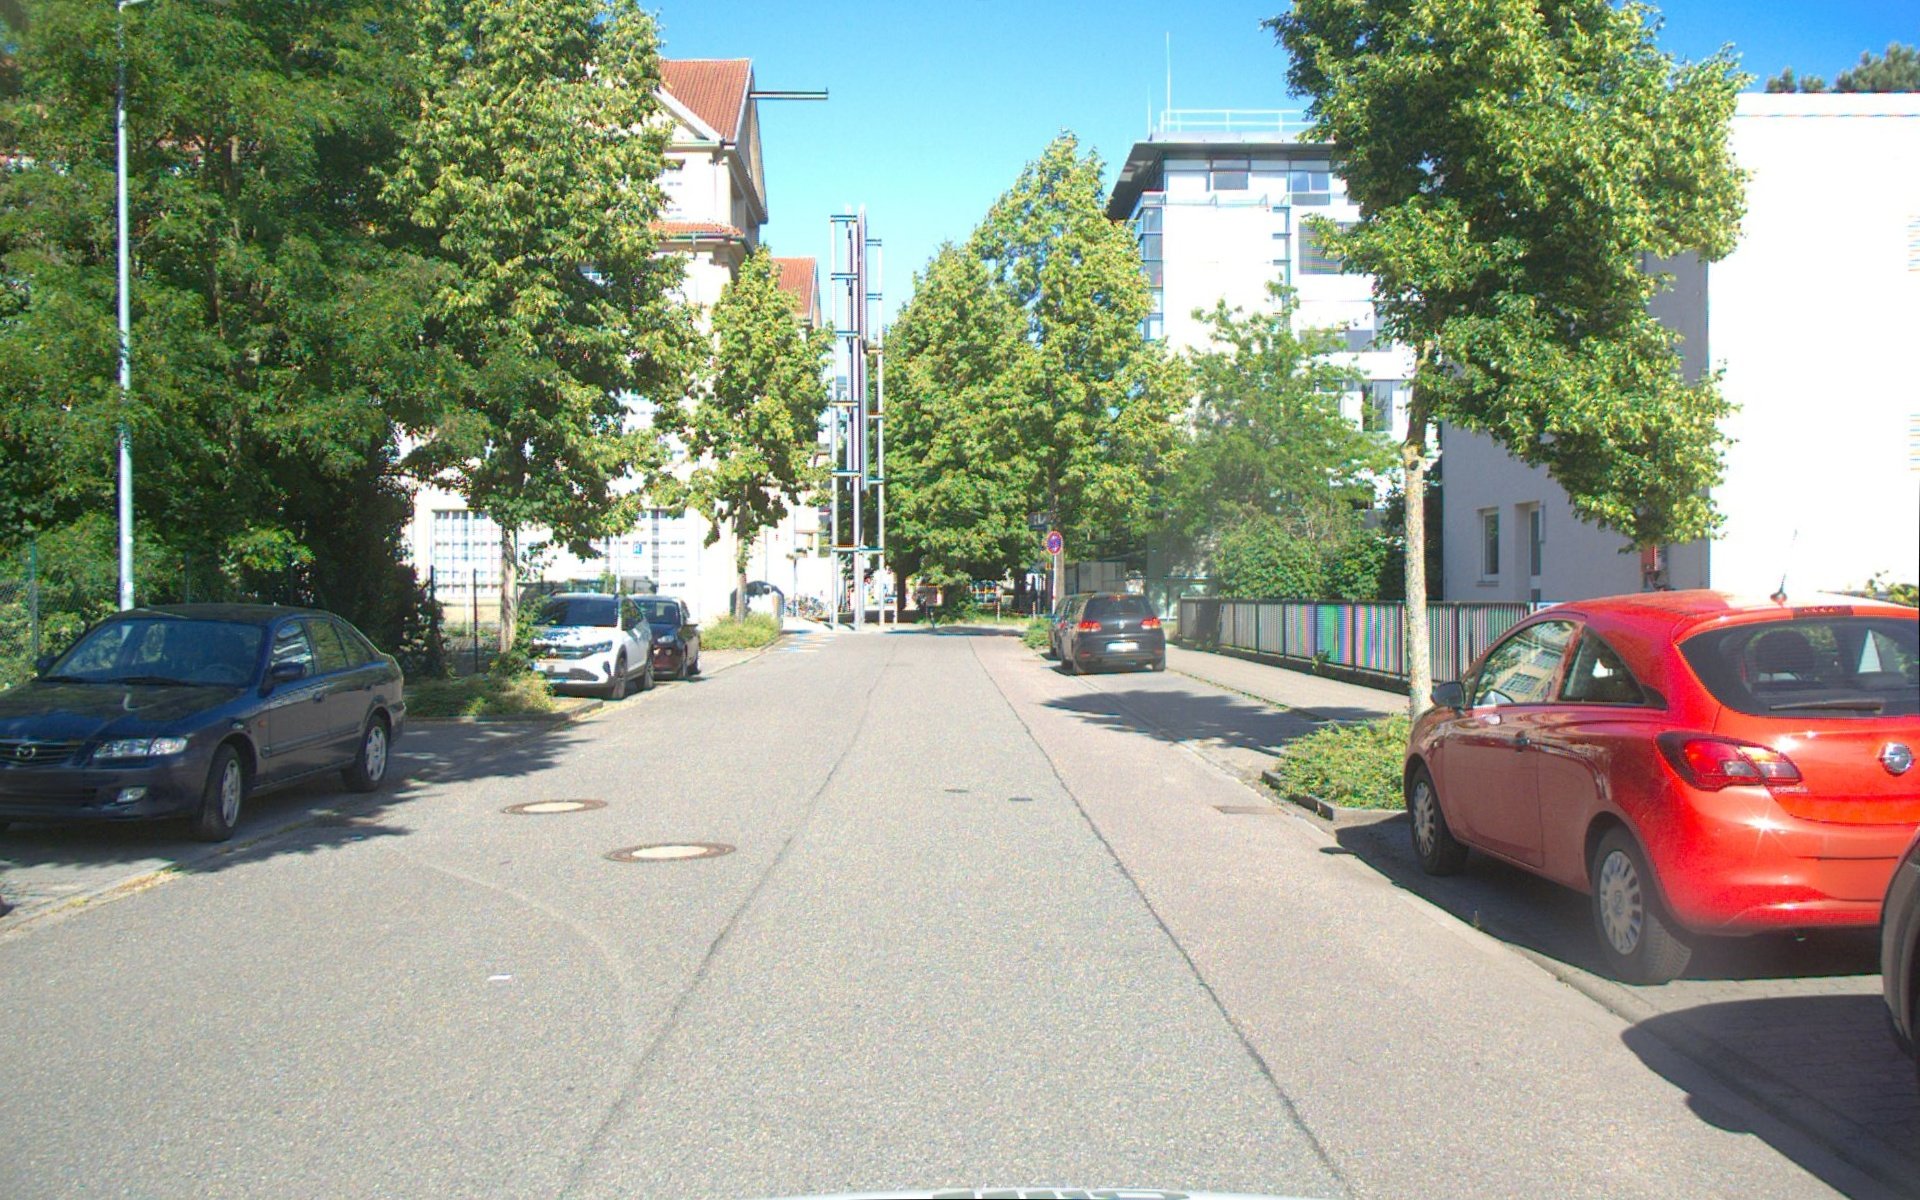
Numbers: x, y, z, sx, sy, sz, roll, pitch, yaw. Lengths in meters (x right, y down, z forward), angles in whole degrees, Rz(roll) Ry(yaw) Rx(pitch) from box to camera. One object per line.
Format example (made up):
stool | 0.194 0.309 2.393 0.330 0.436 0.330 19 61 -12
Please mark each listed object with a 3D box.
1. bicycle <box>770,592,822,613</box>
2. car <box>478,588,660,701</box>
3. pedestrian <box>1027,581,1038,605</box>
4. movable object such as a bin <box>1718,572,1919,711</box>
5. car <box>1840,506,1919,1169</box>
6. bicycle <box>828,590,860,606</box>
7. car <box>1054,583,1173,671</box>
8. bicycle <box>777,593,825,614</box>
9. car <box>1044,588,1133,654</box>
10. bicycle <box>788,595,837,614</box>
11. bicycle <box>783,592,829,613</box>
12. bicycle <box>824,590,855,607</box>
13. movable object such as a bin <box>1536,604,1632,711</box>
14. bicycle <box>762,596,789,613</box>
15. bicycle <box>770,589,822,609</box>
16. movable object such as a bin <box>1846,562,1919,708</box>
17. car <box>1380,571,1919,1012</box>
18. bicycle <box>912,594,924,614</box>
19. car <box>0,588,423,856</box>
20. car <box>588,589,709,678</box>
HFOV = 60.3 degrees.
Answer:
bicycle | -8.845 0.133 89.124 2.746 1.081 0.718 0 1 -6
car | -5.728 0.603 24.696 1.803 1.499 4.001 1 0 -1
pedestrian | 4.809 -0.452 109.727 0.701 1.577 0.690 0 1 5
movable object such as a bin | 9.006 0.407 17.370 1.338 1.381 1.631 -1 0 0
car | 3.394 0.587 2.356 1.861 1.712 4.410 -2 0 0
bicycle | -7.685 -0.134 109.523 2.015 1.085 0.507 0 0 1
car | 2.885 0.467 31.874 1.748 1.542 3.998 -1 1 -3
bicycle | -9.249 0.175 96.016 2.746 1.171 0.718 -1 0 -6
car | 2.931 0.468 38.479 1.711 1.447 4.423 0 0 0
bicycle | -8.356 0.261 93.655 2.746 1.081 0.718 0 1 -6
bicycle | -9.095 0.141 97.438 2.678 1.171 0.718 0 1 -6
bicycle | -7.900 -0.091 108.687 2.015 1.085 0.507 0 0 1
movable object such as a bin | 6.510 0.588 17.300 0.619 1.089 0.979 0 0 -2
bicycle | -9.601 0.236 86.106 0.761 0.806 2.886 0 1 7
bicycle | -8.999 -0.044 90.740 2.743 1.081 0.718 0 1 -1
movable object such as a bin | 10.404 0.340 17.347 1.338 1.473 1.631 -1 0 0
car | 3.361 0.657 7.793 1.641 1.530 3.845 -2 0 -2
bicycle | -2.611 0.247 103.088 0.607 1.218 2.129 -1 1 -6
car | -5.372 0.689 11.639 1.803 1.499 4.359 1 0 -1
car | -5.646 0.571 30.332 1.683 1.499 3.544 1 0 -3
